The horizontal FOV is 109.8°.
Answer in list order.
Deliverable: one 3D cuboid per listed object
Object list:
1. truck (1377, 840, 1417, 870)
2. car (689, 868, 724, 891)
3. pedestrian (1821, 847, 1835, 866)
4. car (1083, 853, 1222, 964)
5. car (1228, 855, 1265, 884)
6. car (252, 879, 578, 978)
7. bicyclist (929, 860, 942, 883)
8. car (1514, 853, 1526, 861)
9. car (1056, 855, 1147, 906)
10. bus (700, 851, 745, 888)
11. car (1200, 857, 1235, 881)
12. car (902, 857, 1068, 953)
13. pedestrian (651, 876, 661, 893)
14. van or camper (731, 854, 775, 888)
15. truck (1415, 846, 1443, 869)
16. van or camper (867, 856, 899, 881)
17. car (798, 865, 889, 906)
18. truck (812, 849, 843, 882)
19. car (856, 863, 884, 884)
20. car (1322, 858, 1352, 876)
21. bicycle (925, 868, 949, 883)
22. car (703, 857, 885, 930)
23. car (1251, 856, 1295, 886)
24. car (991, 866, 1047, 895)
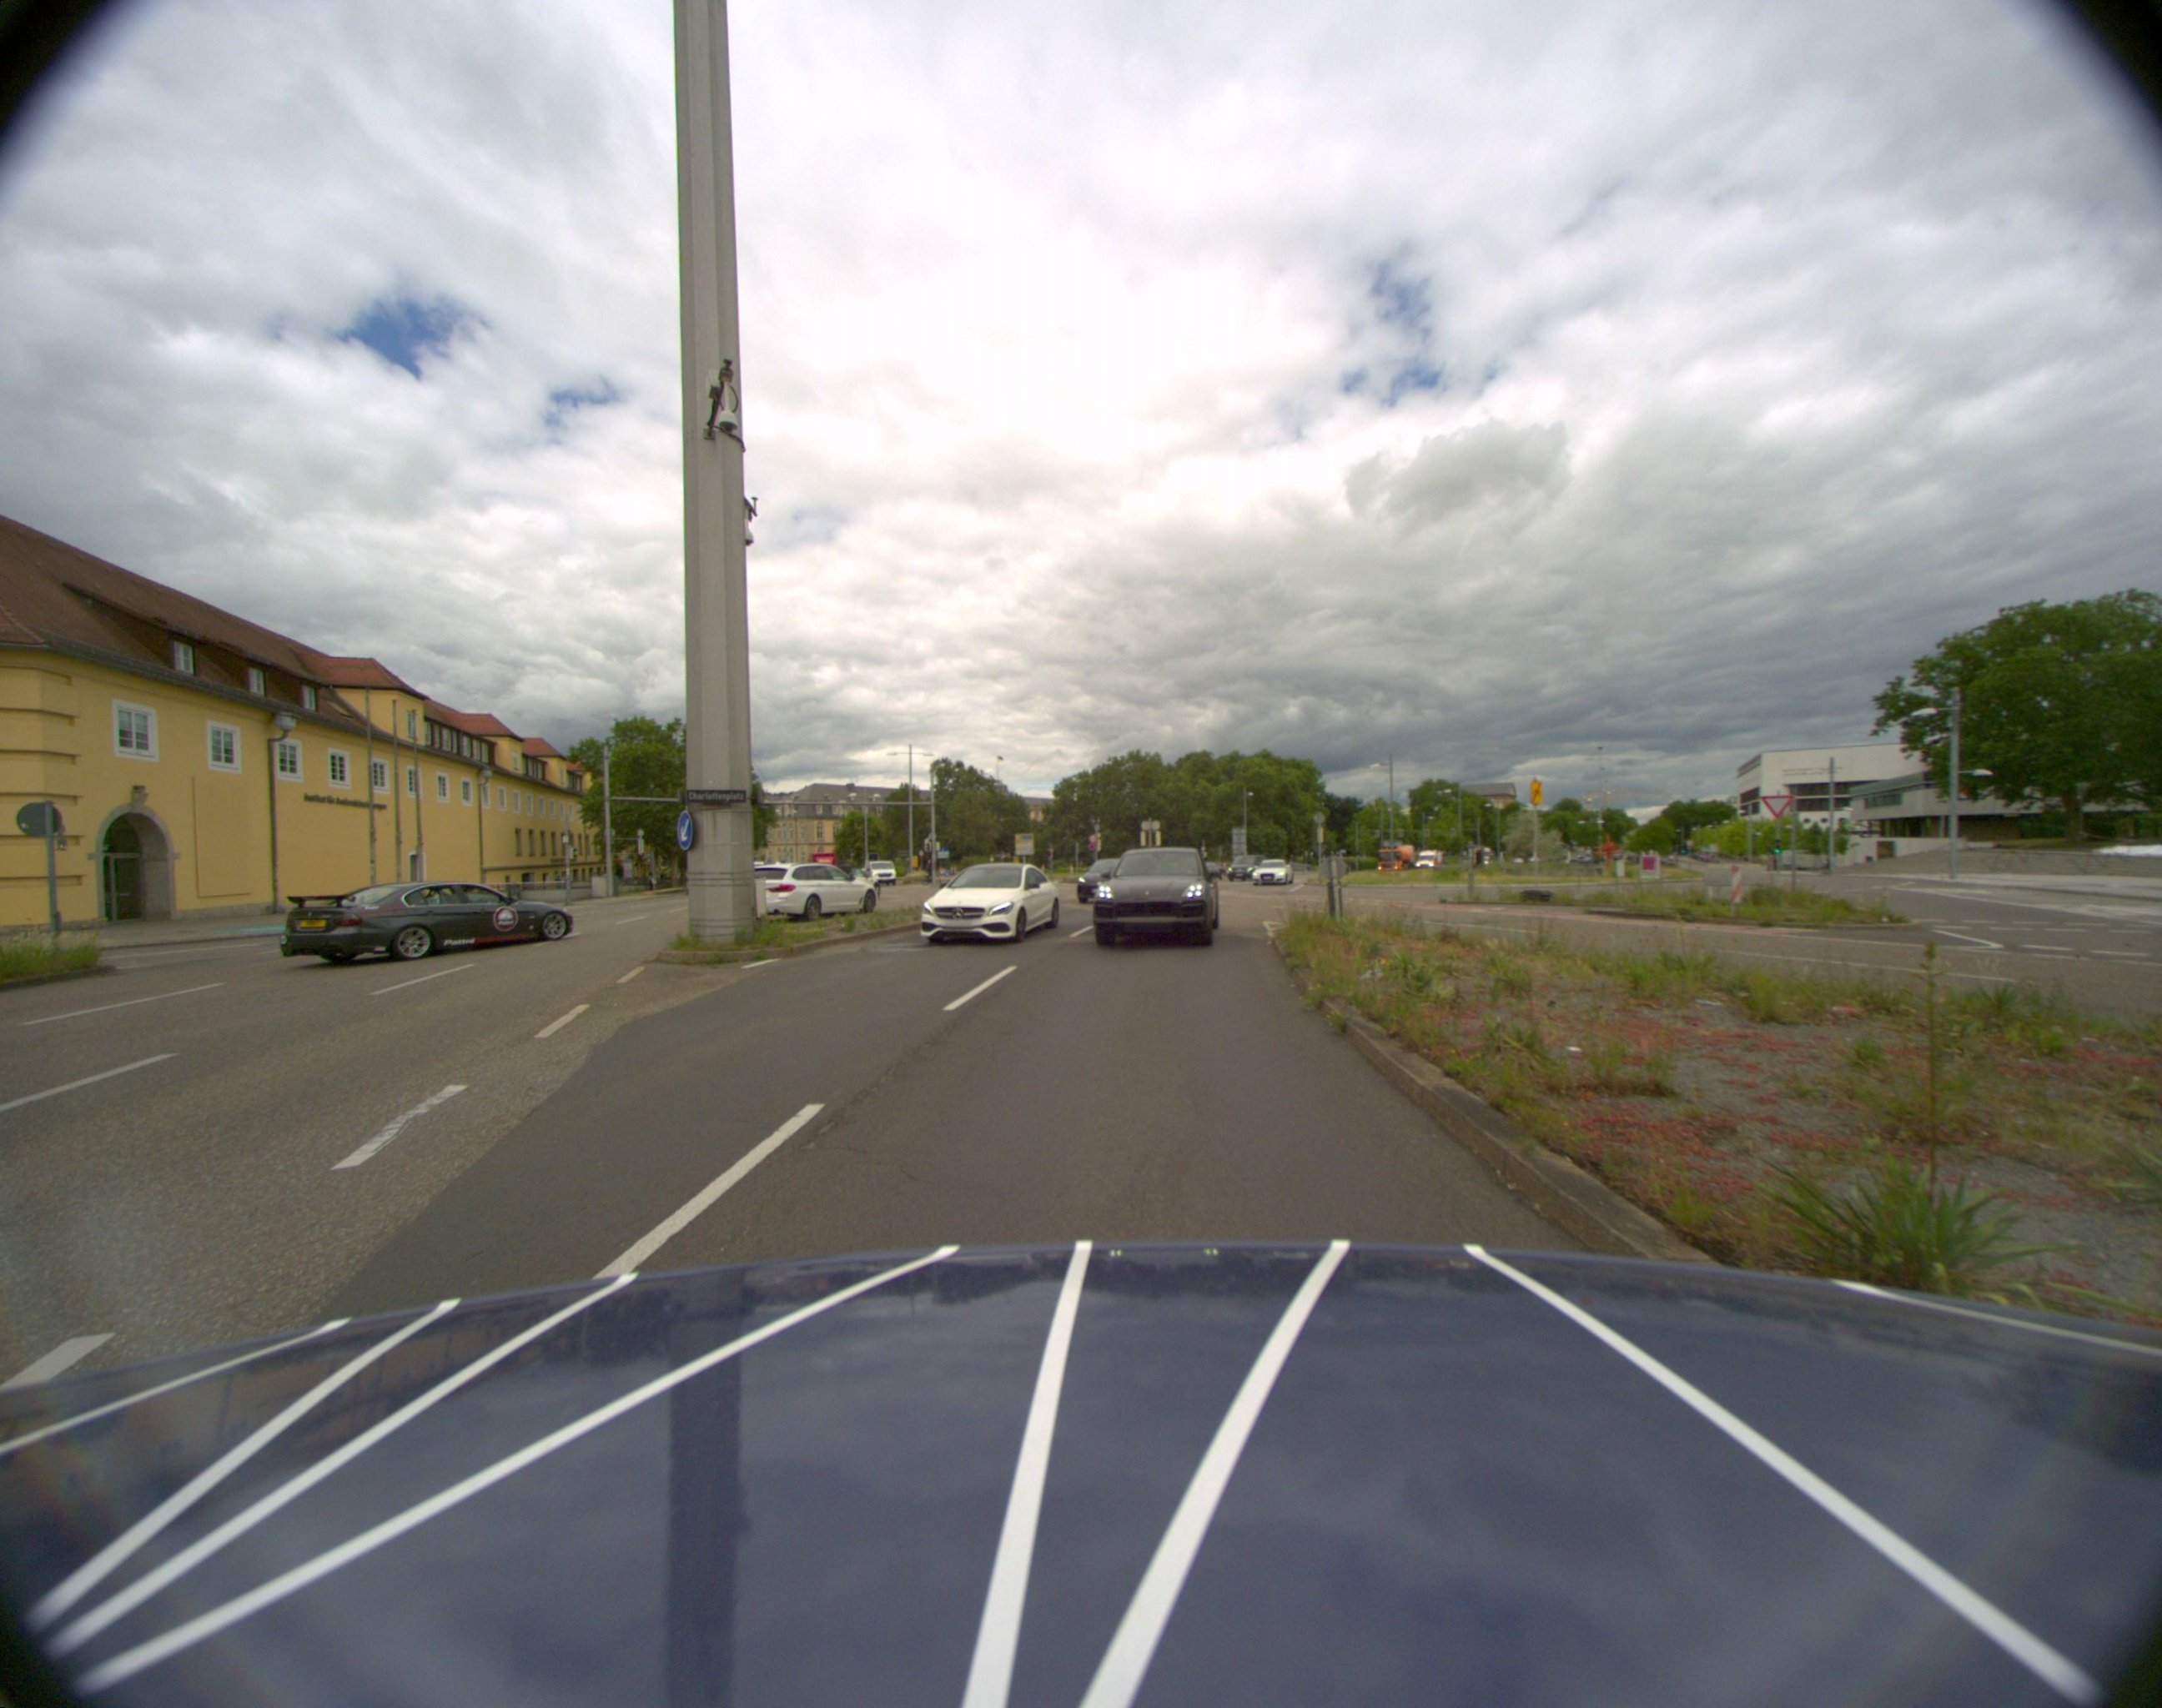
[{"bbox_3d":[40.261,0.125,96.517,2.721,3.595,9.197,-1,0,35],"label":"truck"},{"bbox_3d":[-26.159,1.751,53.208,1.831,1.400,3.993,-1,0,-22],"label":"car"},{"bbox_3d":[69.999,0.246,71.216,0.681,1.738,0.893,-1,0,31],"label":"pedestrian"},{"bbox_3d":[1.525,0.839,14.006,2.003,1.628,5.025,-2,0,11],"label":"car"},{"bbox_3d":[12.045,1.074,55.205,1.856,1.976,4.649,0,0,22],"label":"car"},{"bbox_3d":[-12.183,1.284,14.392,1.756,1.325,4.416,-3,0,12],"label":"car"},{"bbox_3d":[-10.625,1.255,55.415,0.504,1.630,0.723,-1,1,37],"label":"bicyclist"},{"bbox_3d":[105.549,0.717,182.569,1.779,1.834,3.807,-1,0,39],"label":"car"},{"bbox_3d":[0.827,0.872,26.488,1.996,1.537,4.574,-1,1,17],"label":"car"},{"bbox_3d":[-34.767,1.474,74.058,3.439,3.184,13.038,-2,0,-23],"label":"bus"},{"bbox_3d":[10.584,1.136,58.830,1.996,1.668,4.006,-1,0,19],"label":"car"},{"bbox_3d":[-1.676,0.881,15.092,1.868,1.560,4.656,-1,0,11],"label":"car"},{"bbox_3d":[-34.316,2.448,61.342,0.682,1.372,0.578,-1,0,-24],"label":"pedestrian"},{"bbox_3d":[-23.809,1.212,55.324,2.377,2.249,6.278,-1,0,-19],"label":"van or camper"},{"bbox_3d":[44.024,0.378,96.029,1.951,2.767,5.801,-1,0,36],"label":"truck"},{"bbox_3d":[-15.829,1.115,60.709,1.868,1.905,4.705,-2,0,-21],"label":"van or camper"},{"bbox_3d":[-9.141,1.167,29.548,1.726,1.410,3.651,-2,-1,12],"label":"car"},{"bbox_3d":[-28.474,1.281,85.081,2.795,3.469,8.335,-1,0,-22],"label":"truck"},{"bbox_3d":[-19.198,1.744,69.102,2.002,1.744,3.954,-1,0,-21],"label":"car"},{"bbox_3d":[25.757,1.278,76.302,1.855,1.728,3.747,-1,0,34],"label":"car"},{"bbox_3d":[-10.511,1.548,55.488,0.504,1.066,1.732,-1,0,38],"label":"bicycle"},{"bbox_3d":[-7.281,0.937,19.988,1.997,1.496,5.043,-2,1,12],"label":"car"},{"bbox_3d":[11.317,0.980,44.524,2.092,1.600,4.418,-1,0,19],"label":"car"},{"bbox_3d":[-3.078,1.313,38.551,1.673,1.257,4.061,-2,-1,12],"label":"car"}]
